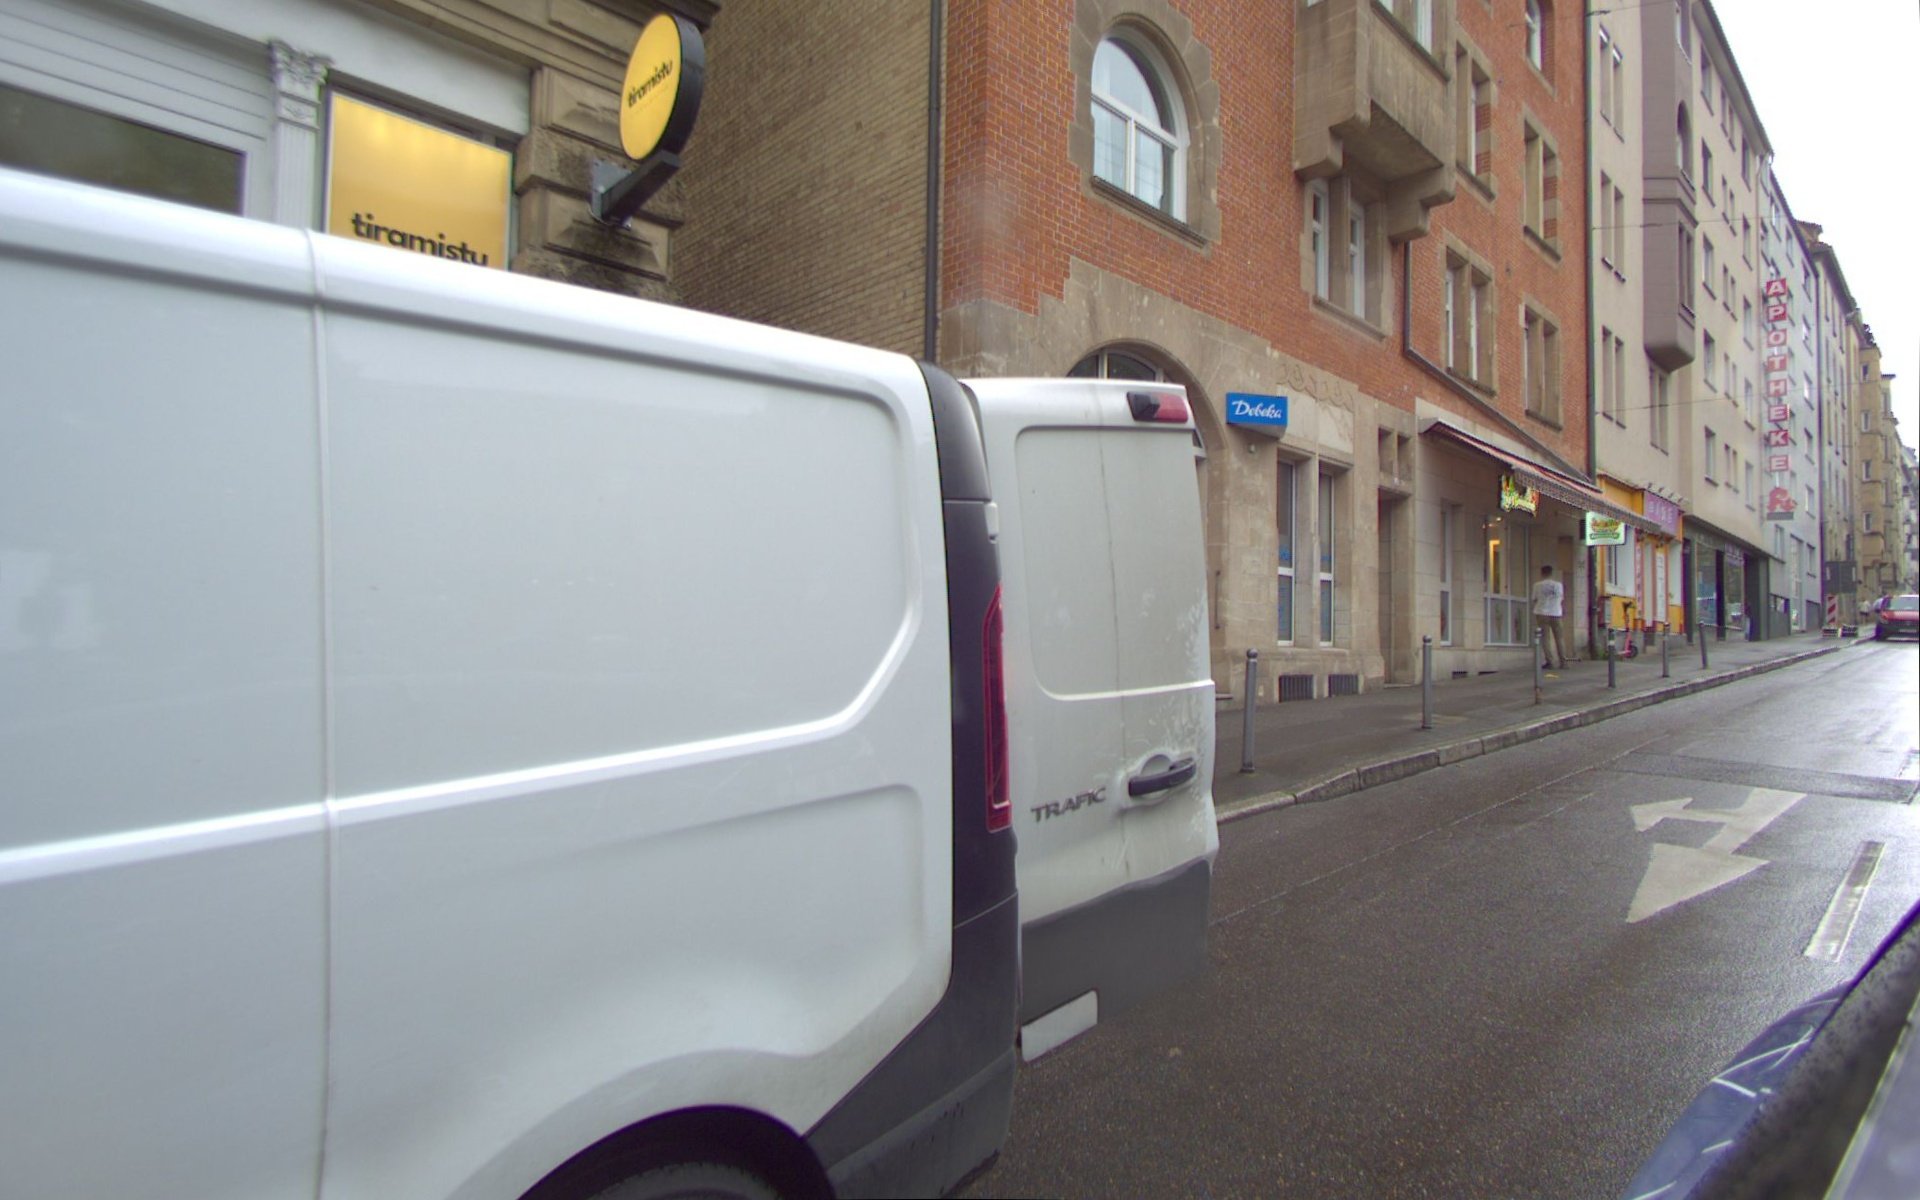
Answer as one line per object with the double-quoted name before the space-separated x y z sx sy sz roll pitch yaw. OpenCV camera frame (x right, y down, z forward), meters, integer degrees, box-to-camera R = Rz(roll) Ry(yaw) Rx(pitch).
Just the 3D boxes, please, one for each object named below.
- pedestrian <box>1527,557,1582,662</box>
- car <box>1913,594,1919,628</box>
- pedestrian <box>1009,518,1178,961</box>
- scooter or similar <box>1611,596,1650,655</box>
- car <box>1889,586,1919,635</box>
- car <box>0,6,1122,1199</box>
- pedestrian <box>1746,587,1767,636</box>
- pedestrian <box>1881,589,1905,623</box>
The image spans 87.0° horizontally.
"pedestrian" 10.791 0.161 18.379 0.567 1.852 0.565 1 2 -7
"car" 49.849 0.566 51.434 4.423 1.730 1.767 1 -1 -43
"pedestrian" 0.616 0.554 4.538 0.676 1.776 0.833 0 0 11
"scooter or similar" 14.350 0.556 21.663 1.171 1.237 0.258 1 -2 -34
"car" 38.748 0.383 40.615 1.975 1.861 5.161 0 0 44
"car" -2.005 0.431 1.214 4.606 1.960 1.923 0 0 -43
"pedestrian" 27.722 0.400 35.229 0.476 1.666 0.329 -1 -2 22
"pedestrian" 49.027 0.330 53.178 0.823 1.780 0.852 1 -2 -43
